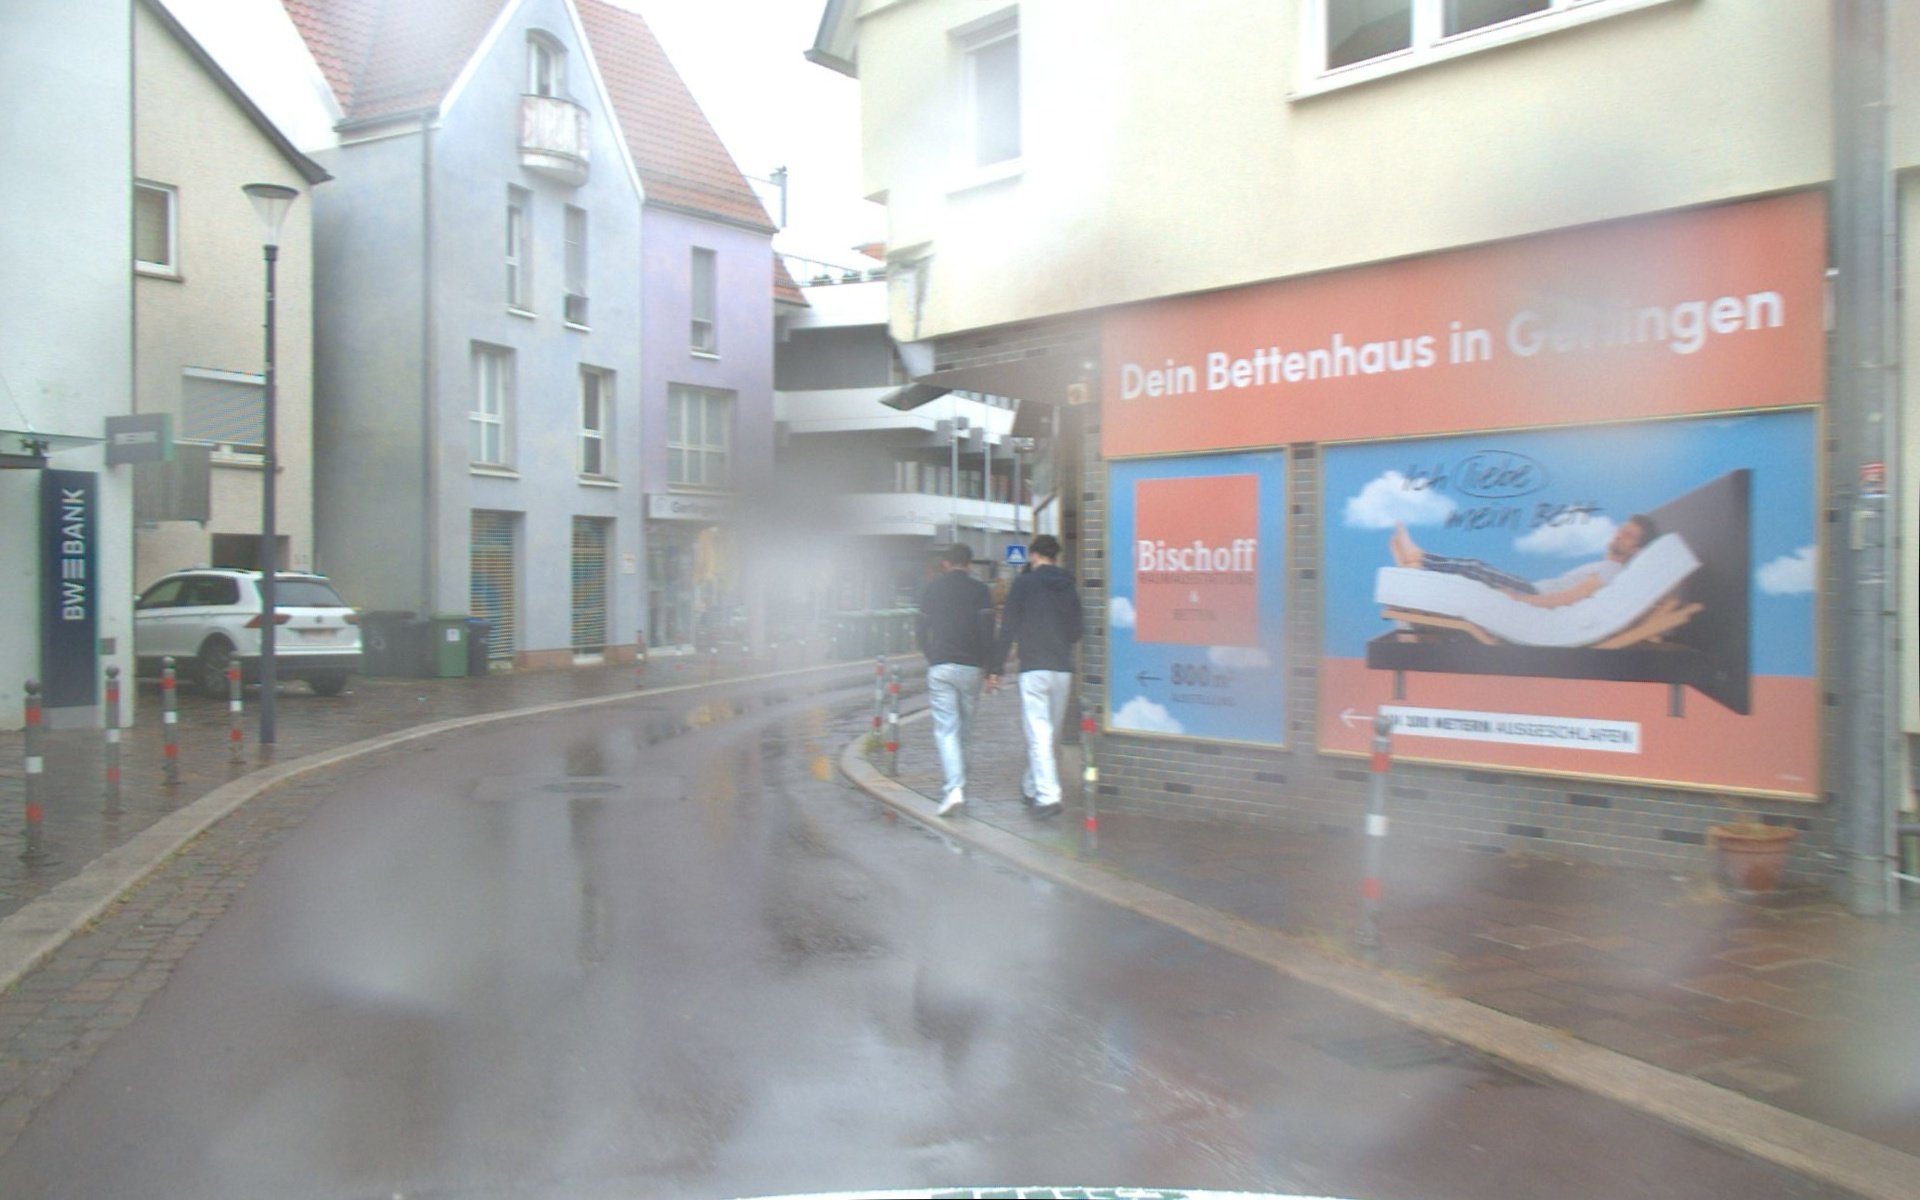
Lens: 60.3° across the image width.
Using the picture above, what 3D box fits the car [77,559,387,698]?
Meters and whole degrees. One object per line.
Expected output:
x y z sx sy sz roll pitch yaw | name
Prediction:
-9.859 0.320 22.358 3.915 1.705 1.995 1 1 32 | car

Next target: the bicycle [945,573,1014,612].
0.698 -0.261 58.985 2.255 1.337 1.010 -1 0 24 | bicycle

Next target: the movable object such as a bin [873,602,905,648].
-1.776 0.620 41.187 0.619 1.147 0.577 -1 0 19 | movable object such as a bin

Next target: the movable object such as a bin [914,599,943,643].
-0.851 0.564 44.364 0.619 1.147 0.577 -1 0 19 | movable object such as a bin

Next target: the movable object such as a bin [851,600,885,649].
-2.185 0.576 39.303 0.619 1.147 0.577 -1 0 19 | movable object such as a bin

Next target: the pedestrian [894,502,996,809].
-0.113 0.369 11.479 0.638 2.049 0.760 0 0 -5 | pedestrian

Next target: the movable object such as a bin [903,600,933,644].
-1.115 0.588 43.782 0.619 1.147 0.577 -1 0 19 | movable object such as a bin

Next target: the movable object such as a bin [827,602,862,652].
-2.656 0.618 37.957 0.619 1.147 0.577 -1 0 19 | movable object such as a bin

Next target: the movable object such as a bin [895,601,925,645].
-1.296 0.591 43.136 0.619 1.147 0.577 -1 0 19 | movable object such as a bin

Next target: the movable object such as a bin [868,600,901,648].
-1.847 0.582 40.375 0.619 1.147 0.577 -1 0 19 | movable object such as a bin

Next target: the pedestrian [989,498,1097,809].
0.556 0.353 11.317 0.638 2.049 0.761 0 0 -4 | pedestrian

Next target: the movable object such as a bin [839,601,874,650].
-2.416 0.591 38.669 0.619 1.147 0.577 -1 0 19 | movable object such as a bin

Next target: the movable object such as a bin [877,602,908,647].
-1.702 0.616 41.875 0.619 1.147 0.577 -1 0 19 | movable object such as a bin

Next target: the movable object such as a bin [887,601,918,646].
-1.481 0.603 42.543 0.619 1.147 0.577 -1 0 19 | movable object such as a bin
